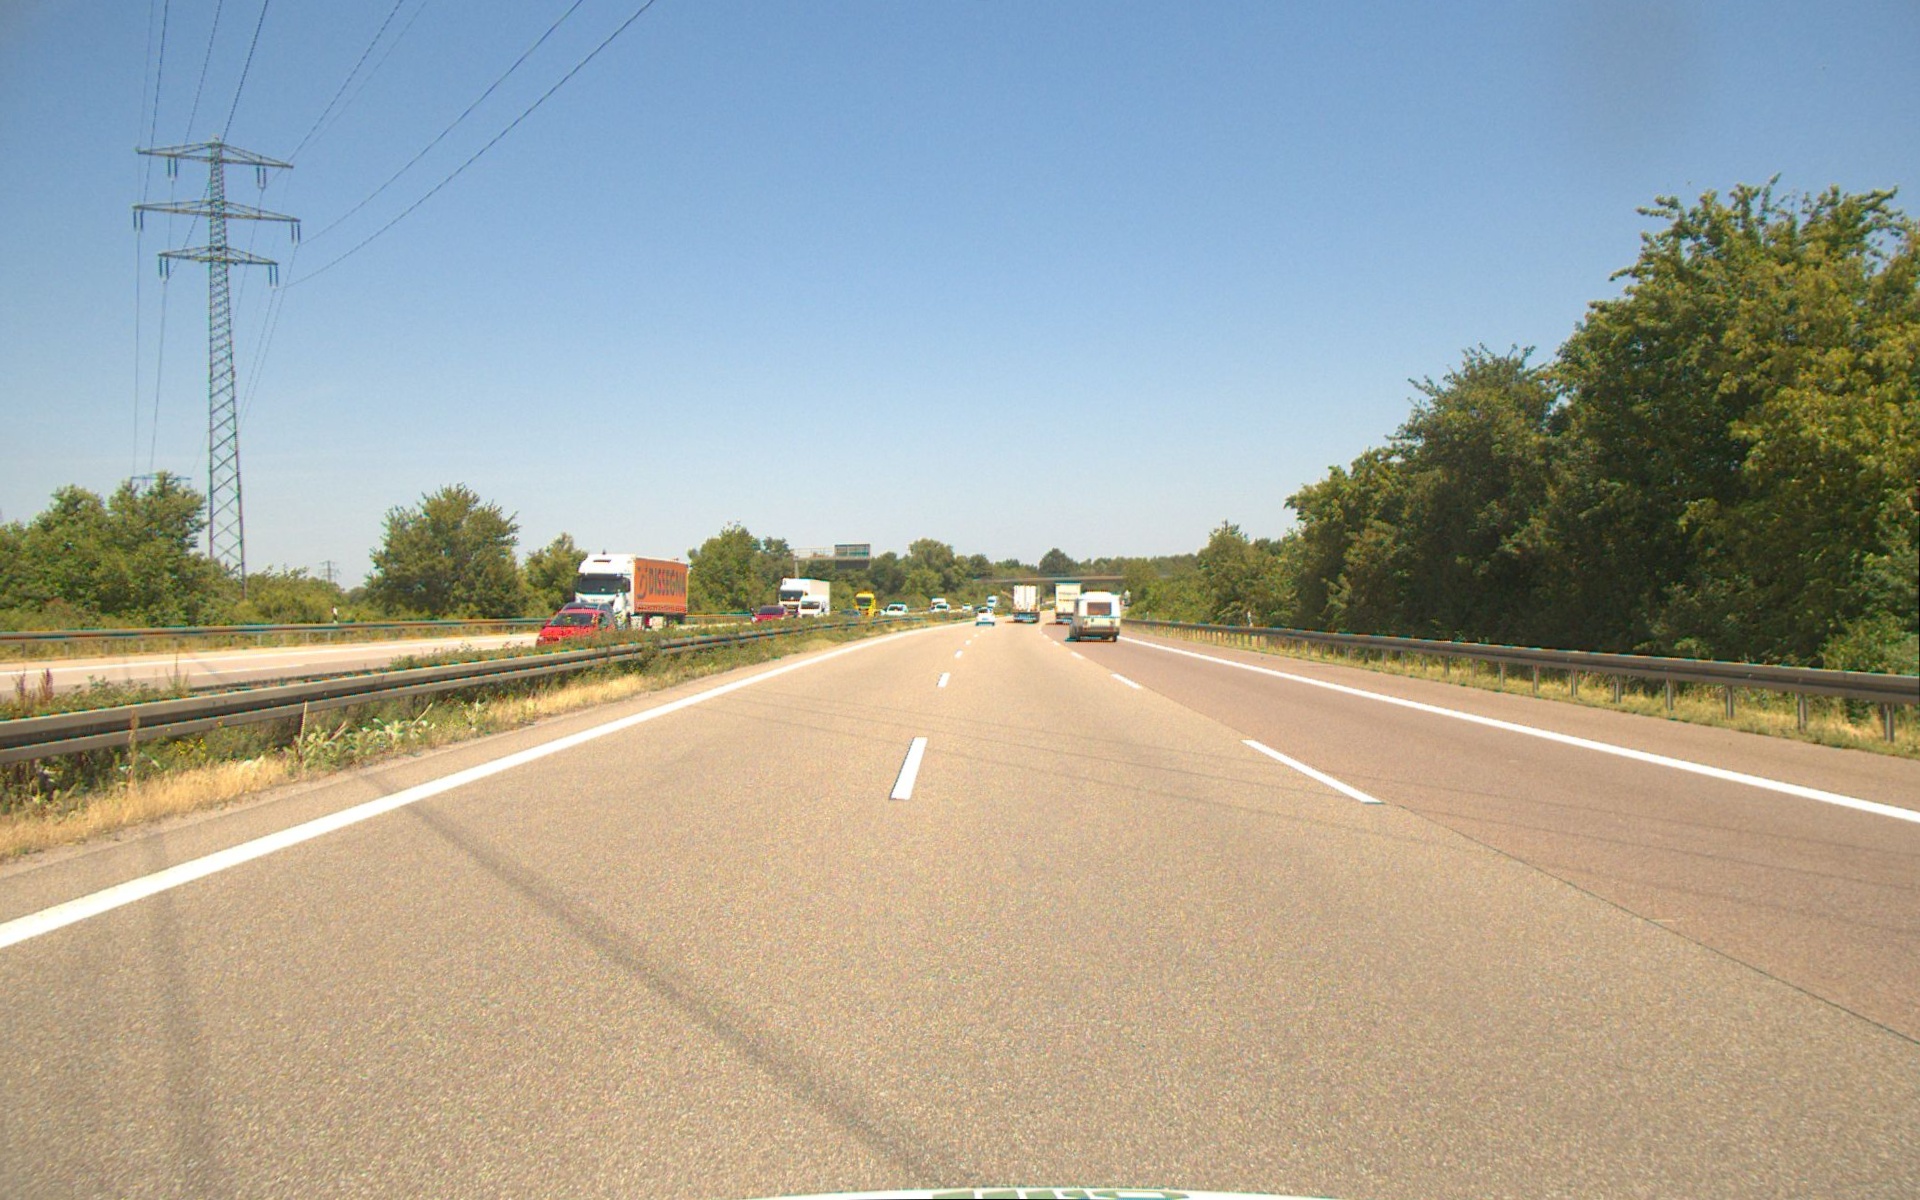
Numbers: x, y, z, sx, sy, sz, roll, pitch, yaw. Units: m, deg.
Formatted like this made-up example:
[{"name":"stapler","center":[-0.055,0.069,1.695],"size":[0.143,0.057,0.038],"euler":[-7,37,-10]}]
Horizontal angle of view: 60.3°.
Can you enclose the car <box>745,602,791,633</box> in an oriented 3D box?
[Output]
[{"name":"car","center":[-10.103,0.913,87.442],"size":[1.953,1.576,4.447],"euler":[0,0,-1]}]

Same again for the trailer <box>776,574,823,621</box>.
[{"name":"trailer","center":[-15.335,-0.178,158.998],"size":[2.776,4.332,13.639],"euler":[0,0,1]}]

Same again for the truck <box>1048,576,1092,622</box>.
[{"name":"truck","center":[11.459,-0.217,170.502],"size":[3.113,4.379,16.032],"euler":[0,1,9]}]

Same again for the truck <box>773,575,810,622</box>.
[{"name":"truck","center":[-15.476,-0.121,152.353],"size":[2.772,4.153,5.166],"euler":[0,0,1]}]

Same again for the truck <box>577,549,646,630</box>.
[{"name":"truck","center":[-17.976,-0.562,85.513],"size":[2.430,4.089,4.603],"euler":[0,1,2]}]

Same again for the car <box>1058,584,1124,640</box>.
[{"name":"car","center":[5.899,0.504,75.198],"size":[2.393,2.362,5.320],"euler":[-1,1,-2]}]

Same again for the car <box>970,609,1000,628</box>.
[{"name":"car","center":[2.227,1.599,146.896],"size":[1.789,1.574,4.323],"euler":[1,0,13]}]

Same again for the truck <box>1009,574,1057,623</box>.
[{"name":"truck","center":[8.077,-0.291,181.342],"size":[3.588,5.106,16.031],"euler":[0,1,8]}]

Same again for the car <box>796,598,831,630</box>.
[{"name":"car","center":[-11.867,1.112,134.573],"size":[1.952,2.514,6.492],"euler":[0,0,2]}]

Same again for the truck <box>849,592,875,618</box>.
[{"name":"truck","center":[-12.181,0.646,206.716],"size":[2.469,3.207,9.669],"euler":[0,0,1]}]

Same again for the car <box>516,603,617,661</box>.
[{"name":"car","center":[-10.809,0.854,45.697],"size":[1.865,1.506,3.960],"euler":[0,0,-1]}]

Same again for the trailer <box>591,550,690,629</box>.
[{"name":"trailer","center":[-17.737,-0.661,92.840],"size":[2.454,4.113,13.590],"euler":[0,1,2]}]
